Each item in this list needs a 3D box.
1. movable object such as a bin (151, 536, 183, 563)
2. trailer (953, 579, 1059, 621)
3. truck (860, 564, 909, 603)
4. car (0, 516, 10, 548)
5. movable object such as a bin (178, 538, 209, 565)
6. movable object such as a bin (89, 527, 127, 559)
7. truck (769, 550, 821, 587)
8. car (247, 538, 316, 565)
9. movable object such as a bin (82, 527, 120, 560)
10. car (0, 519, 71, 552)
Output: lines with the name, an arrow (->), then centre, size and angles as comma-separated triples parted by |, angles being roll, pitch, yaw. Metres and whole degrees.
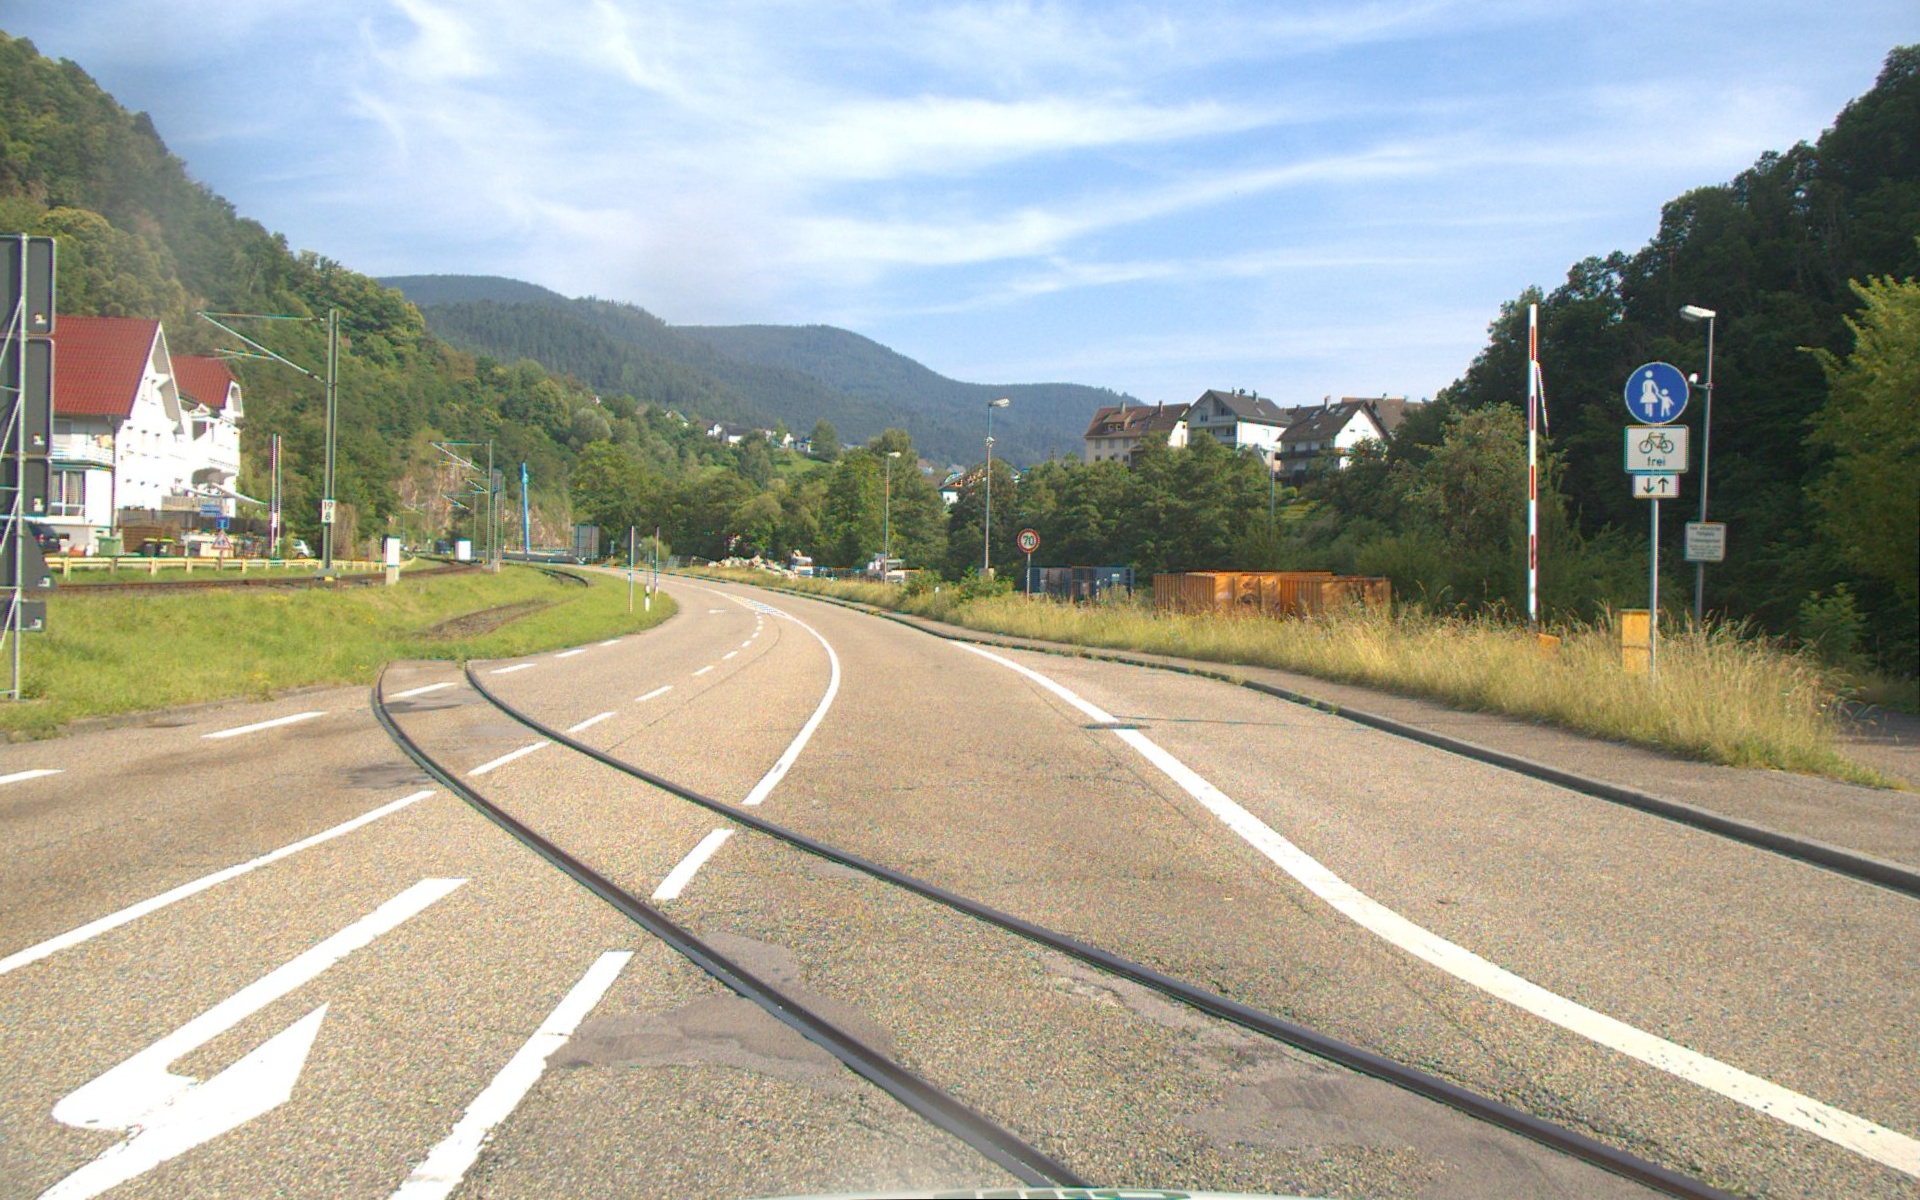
movable object such as a bin -> -37.136, -2.387, 77.446 | 1.070, 1.212, 1.140 | 2, 1, -12
trailer -> 1.927, -0.078, 74.522 | 2.741, 1.500, 9.864 | 4, 1, -10
truck -> -7.923, -1.757, 171.432 | 3.053, 3.847, 8.608 | 2, 1, -16
car -> -43.526, -3.002, 71.195 | 4.177, 1.352, 1.751 | 2, 1, -11
movable object such as a bin -> -36.036, -2.263, 77.771 | 1.070, 1.212, 1.140 | 2, 0, -12
movable object such as a bin -> -34.202, -2.292, 66.429 | 1.121, 1.212, 1.088 | 2, 0, -17
truck -> -18.726, -3.605, 187.376 | 3.063, 3.847, 8.578 | 2, 1, -25
car -> -47.035, -3.369, 114.792 | 4.072, 1.721, 1.994 | 2, 1, -12
movable object such as a bin -> -33.875, -2.227, 65.246 | 1.121, 1.212, 1.088 | 2, 0, -17
car -> -39.589, -2.719, 69.019 | 4.020, 1.292, 1.733 | 2, 1, -10
